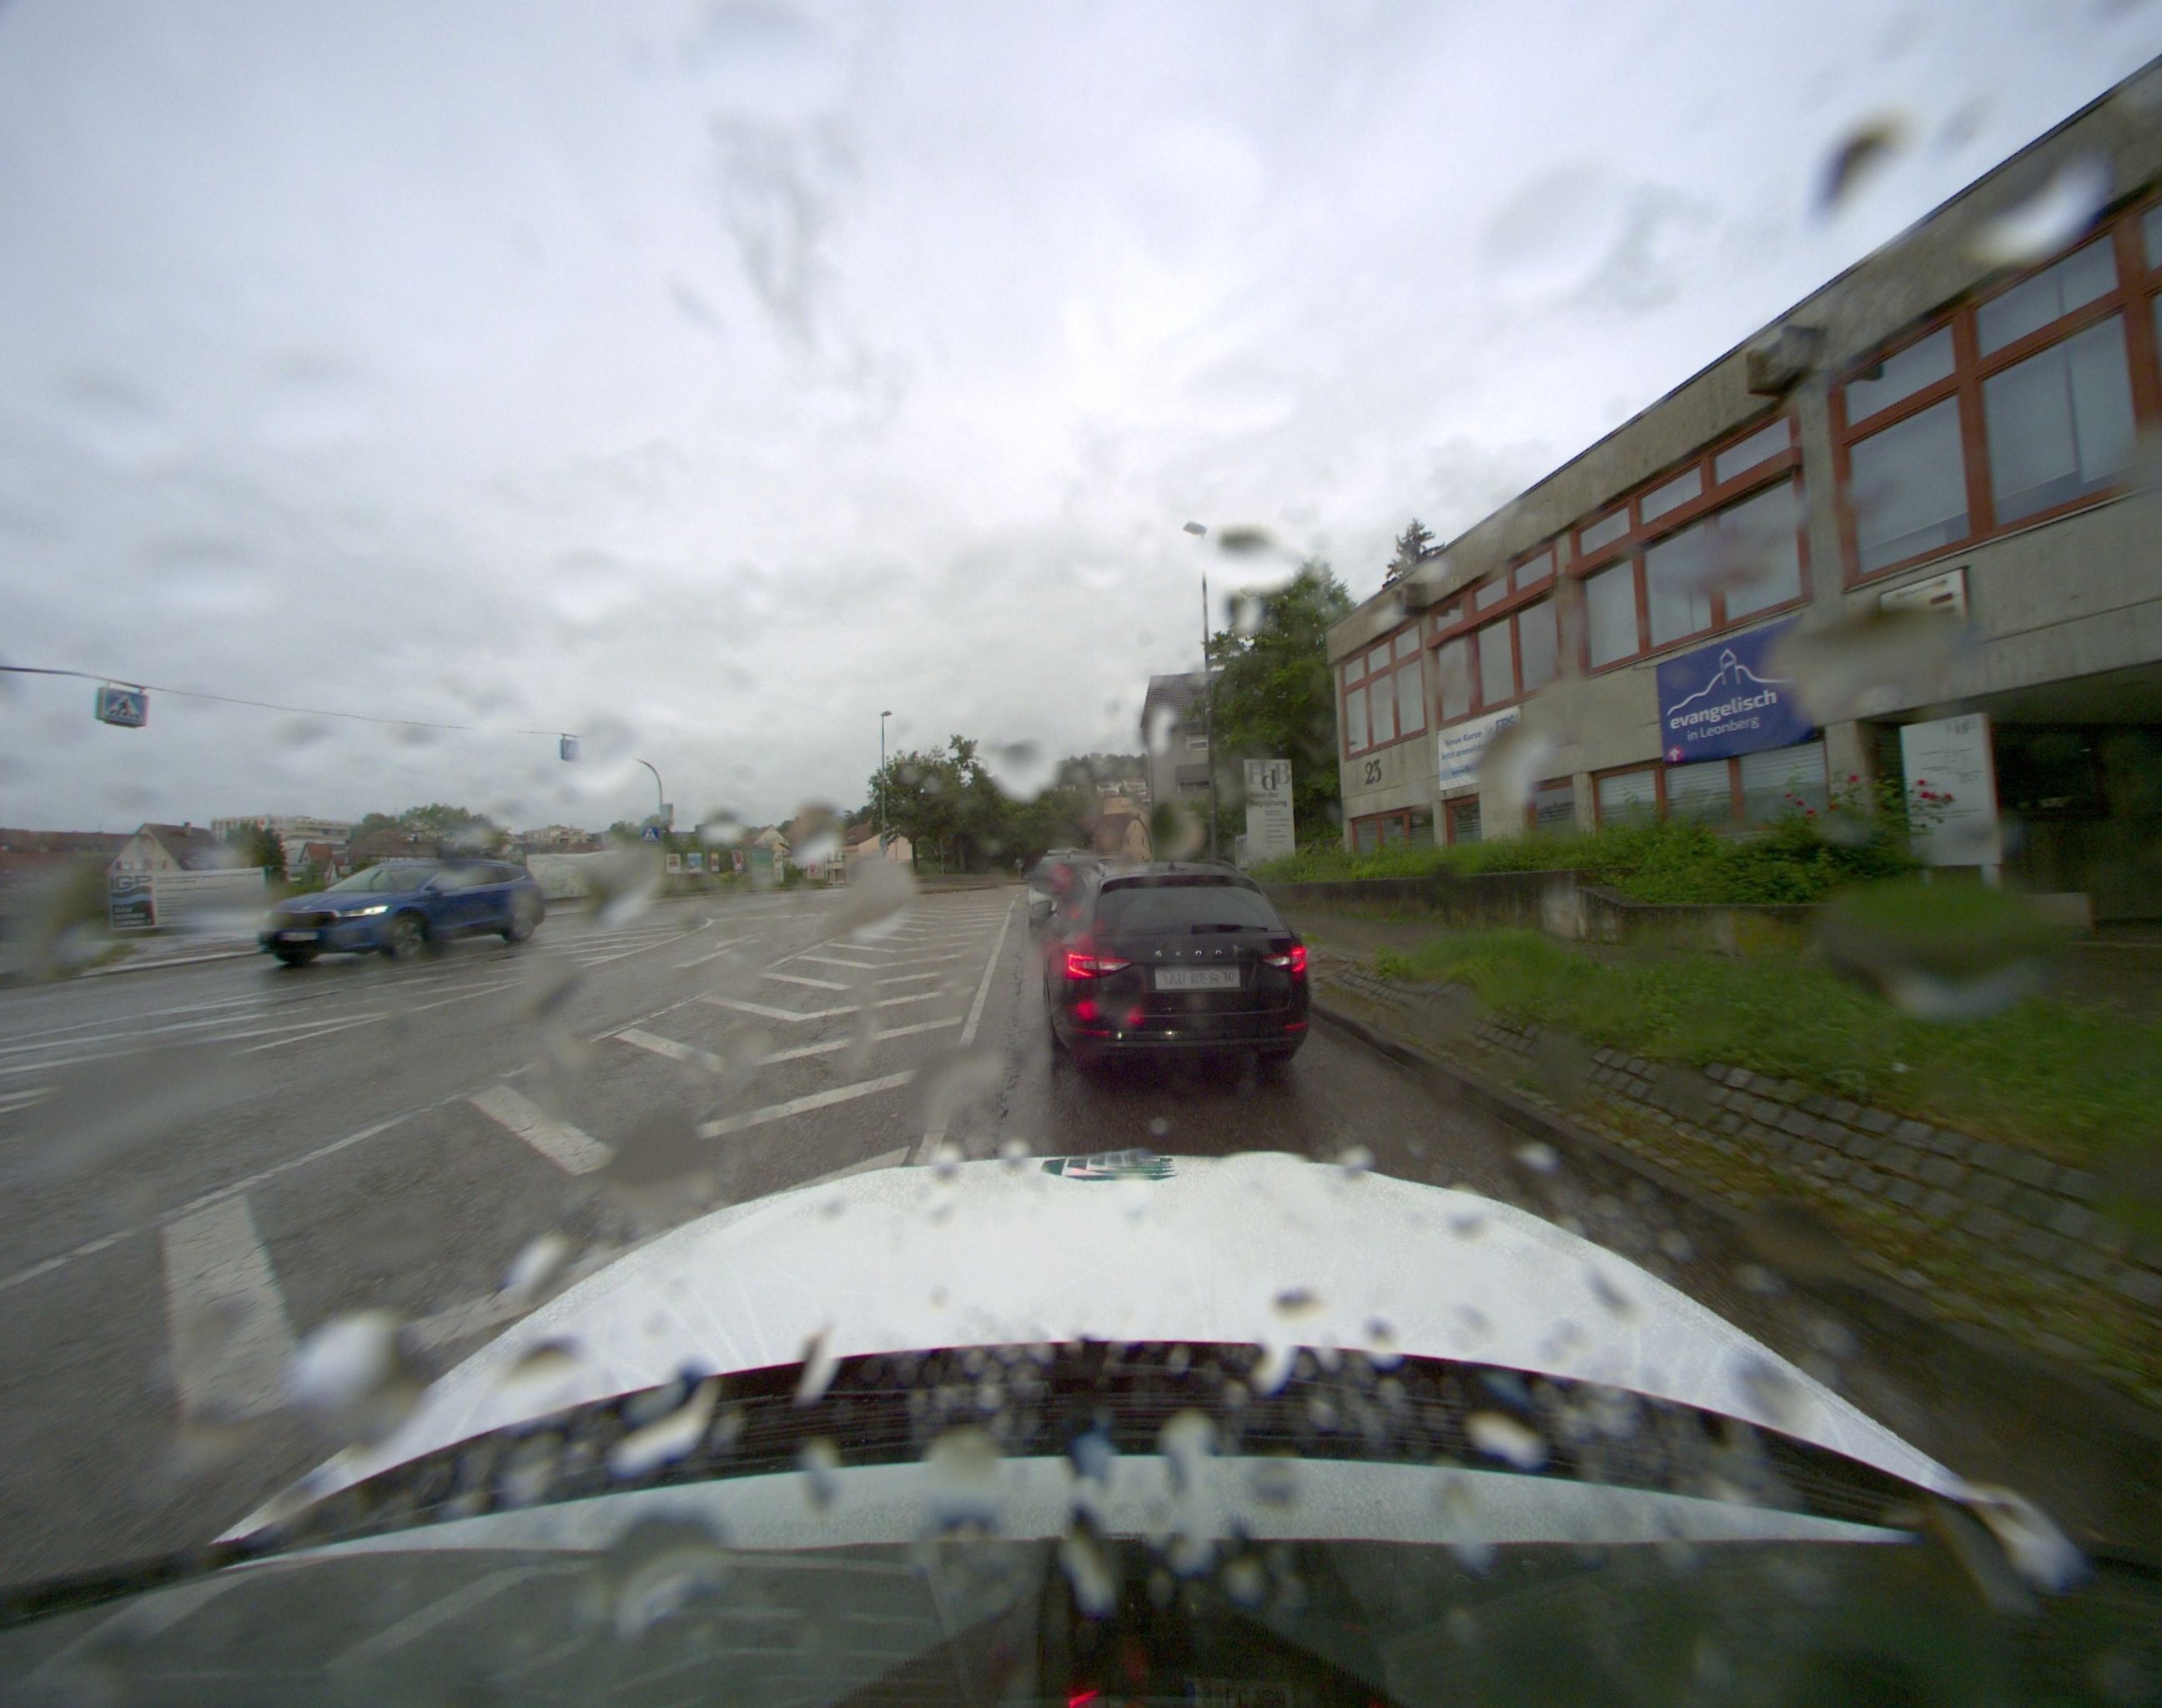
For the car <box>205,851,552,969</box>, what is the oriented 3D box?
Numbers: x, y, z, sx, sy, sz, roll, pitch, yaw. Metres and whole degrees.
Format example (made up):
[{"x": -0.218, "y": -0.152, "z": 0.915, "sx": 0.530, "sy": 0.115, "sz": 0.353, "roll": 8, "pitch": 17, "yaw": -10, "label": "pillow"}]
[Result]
[{"x": -11.776, "y": 0.865, "z": 14.250, "sx": 1.987, "sy": 1.693, "sz": 4.703, "roll": -1, "pitch": -1, "yaw": -1, "label": "car"}]

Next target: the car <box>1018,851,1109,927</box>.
[{"x": -0.325, "y": 0.755, "z": 18.676, "sx": 1.822, "sy": 1.500, "sz": 4.168, "roll": -1, "pitch": -1, "yaw": 1, "label": "car"}]

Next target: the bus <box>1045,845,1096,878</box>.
[{"x": -0.812, "y": 0.591, "z": 70.554, "sx": 2.378, "sy": 2.676, "sz": 7.078, "roll": -2, "pitch": 0, "yaw": 17, "label": "bus"}]

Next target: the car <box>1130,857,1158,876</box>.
[{"x": 5.647, "y": 1.095, "z": 72.473, "sx": 1.981, "sy": 1.453, "sz": 3.782, "roll": -4, "pitch": -1, "yaw": 10, "label": "car"}]

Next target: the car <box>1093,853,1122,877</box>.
[{"x": 1.864, "y": 0.702, "z": 55.977, "sx": 1.559, "sy": 1.530, "sz": 4.008, "roll": -2, "pitch": 0, "yaw": 7, "label": "car"}]

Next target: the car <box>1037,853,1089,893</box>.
[{"x": -0.691, "y": 0.715, "z": 31.383, "sx": 1.843, "sy": 1.410, "sz": 4.298, "roll": -1, "pitch": -1, "yaw": -2, "label": "car"}]

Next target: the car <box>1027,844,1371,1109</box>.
[{"x": 0.563, "y": 0.746, "z": 7.044, "sx": 1.951, "sy": 1.507, "sz": 4.600, "roll": 1, "pitch": -1, "yaw": -5, "label": "car"}]

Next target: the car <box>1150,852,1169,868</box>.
[{"x": 10.630, "y": 0.812, "z": 110.332, "sx": 1.988, "sy": 2.014, "sz": 3.996, "roll": -1, "pitch": -1, "yaw": -2, "label": "car"}]
